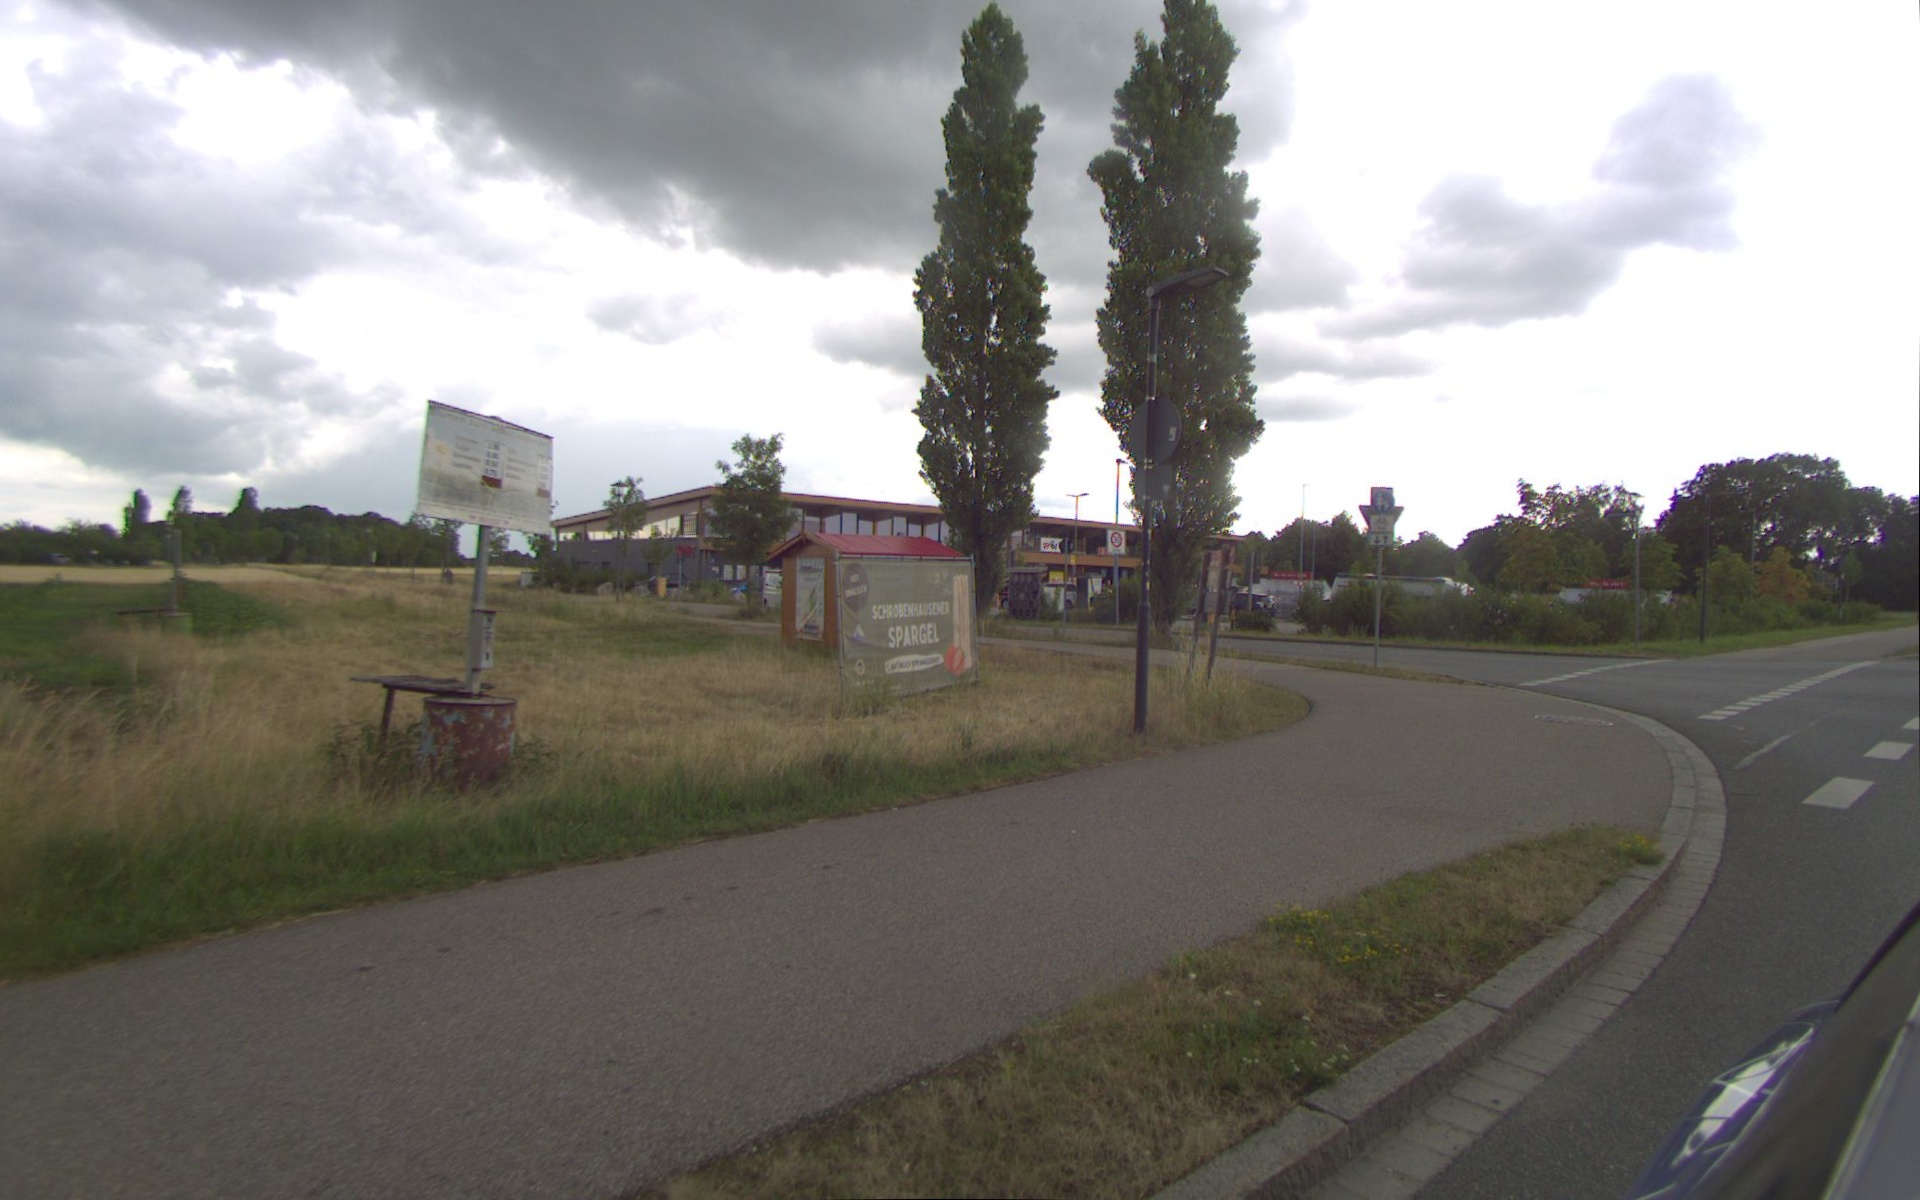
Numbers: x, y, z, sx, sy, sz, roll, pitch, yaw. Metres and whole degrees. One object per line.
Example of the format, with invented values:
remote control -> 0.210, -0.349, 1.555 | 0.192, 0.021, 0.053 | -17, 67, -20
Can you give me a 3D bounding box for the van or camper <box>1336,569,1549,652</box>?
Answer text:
van or camper -> 17.178, 0.264, 36.383 | 2.243, 2.494, 6.476 | 0, 3, -43
